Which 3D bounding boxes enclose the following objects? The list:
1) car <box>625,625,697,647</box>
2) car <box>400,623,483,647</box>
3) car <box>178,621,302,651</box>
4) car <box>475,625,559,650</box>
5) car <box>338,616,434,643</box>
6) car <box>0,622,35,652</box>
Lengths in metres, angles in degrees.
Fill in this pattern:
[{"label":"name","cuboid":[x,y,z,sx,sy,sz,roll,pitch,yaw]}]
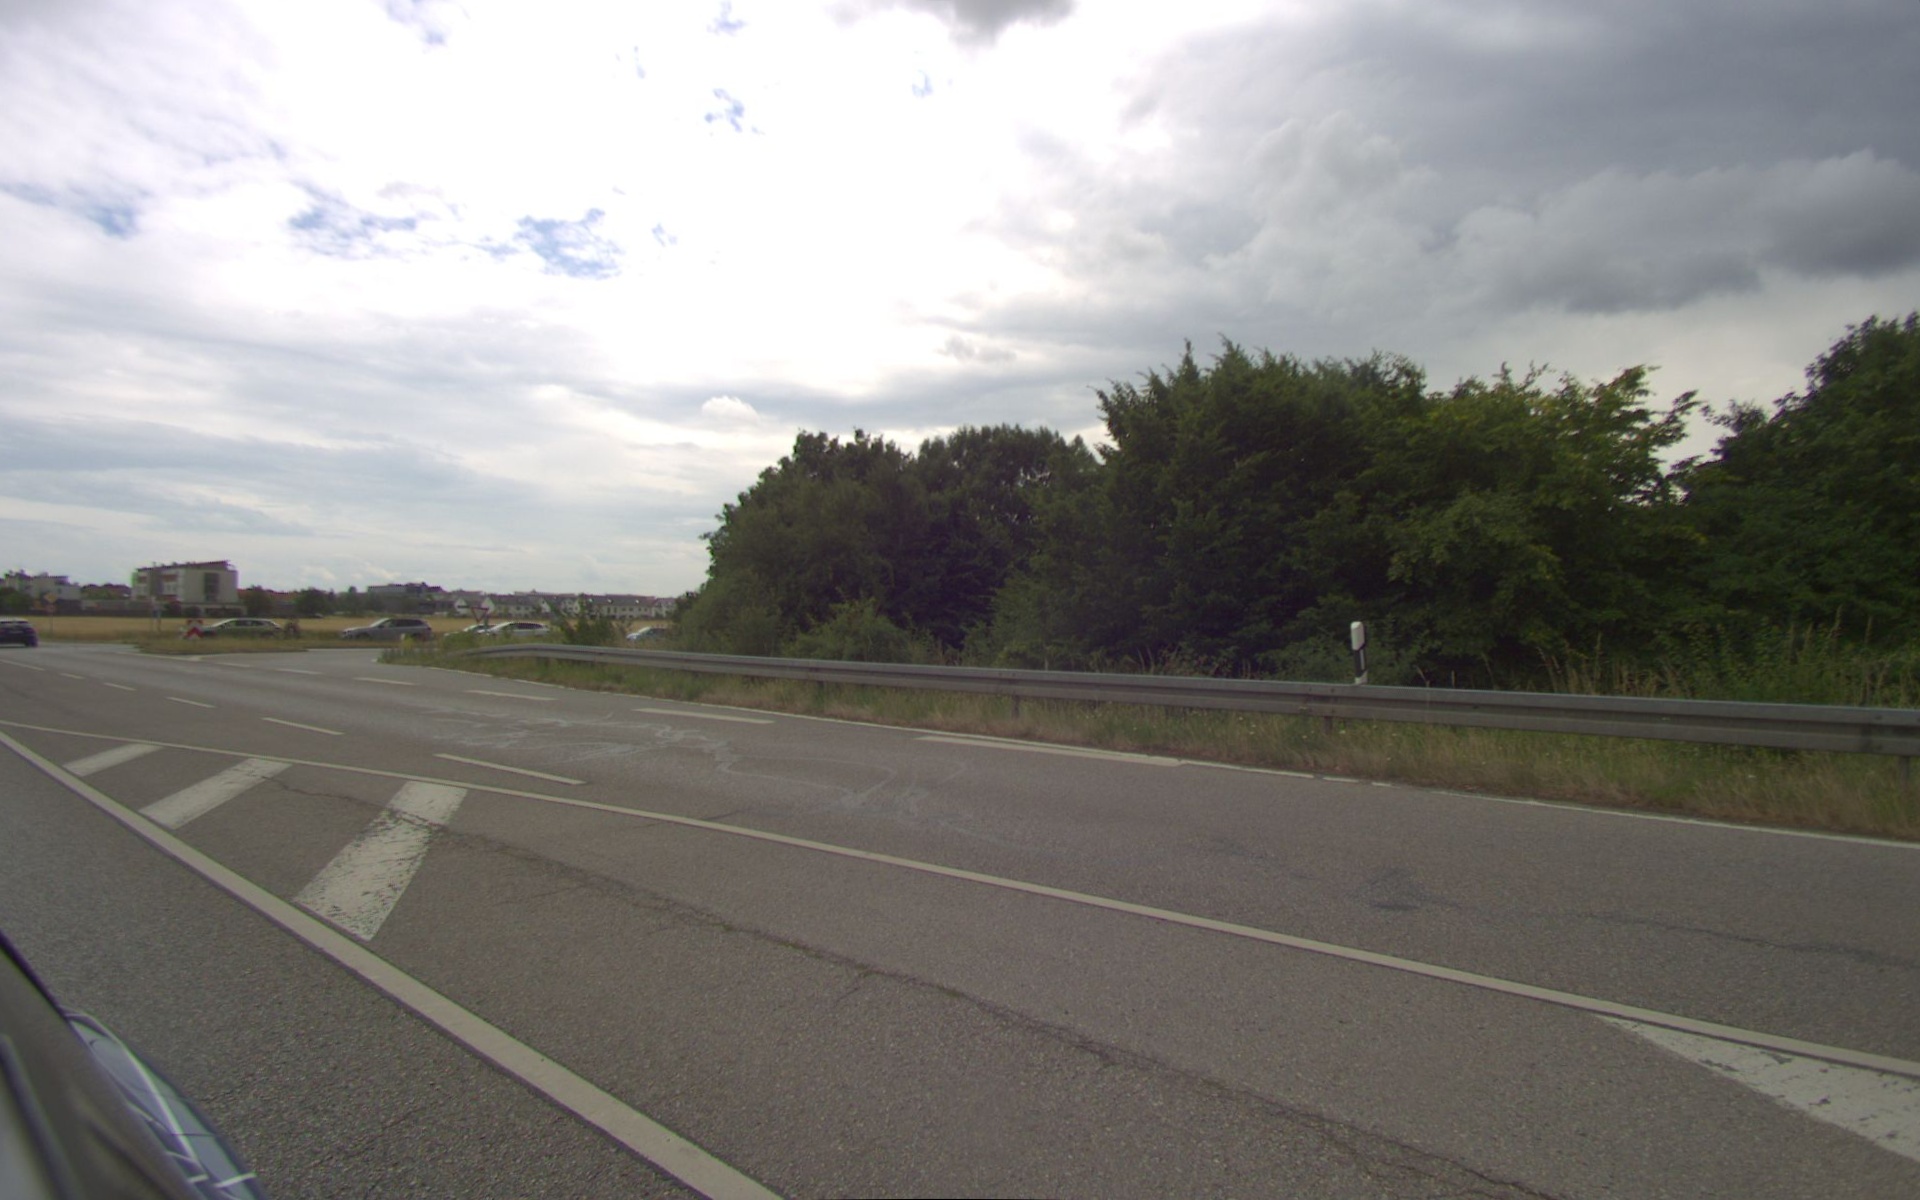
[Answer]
[{"label":"car","cuboid":[-20.751,2.507,70.386,4.437,1.493,1.913,2,-2,-43]},{"label":"car","cuboid":[-32.752,2.190,63.983,4.344,1.493,1.913,2,-2,-43]},{"label":"car","cuboid":[-38.767,1.905,54.585,5.221,1.533,1.913,2,-2,-43]},{"label":"car","cuboid":[-27.958,2.363,63.945,4.437,1.493,1.913,2,-2,-43]},{"label":"car","cuboid":[-33.653,1.750,59.425,4.568,1.528,1.913,2,-2,-43]},{"label":"car","cuboid":[-47.011,1.792,49.884,4.000,1.387,1.842,-1,-1,43]}]
